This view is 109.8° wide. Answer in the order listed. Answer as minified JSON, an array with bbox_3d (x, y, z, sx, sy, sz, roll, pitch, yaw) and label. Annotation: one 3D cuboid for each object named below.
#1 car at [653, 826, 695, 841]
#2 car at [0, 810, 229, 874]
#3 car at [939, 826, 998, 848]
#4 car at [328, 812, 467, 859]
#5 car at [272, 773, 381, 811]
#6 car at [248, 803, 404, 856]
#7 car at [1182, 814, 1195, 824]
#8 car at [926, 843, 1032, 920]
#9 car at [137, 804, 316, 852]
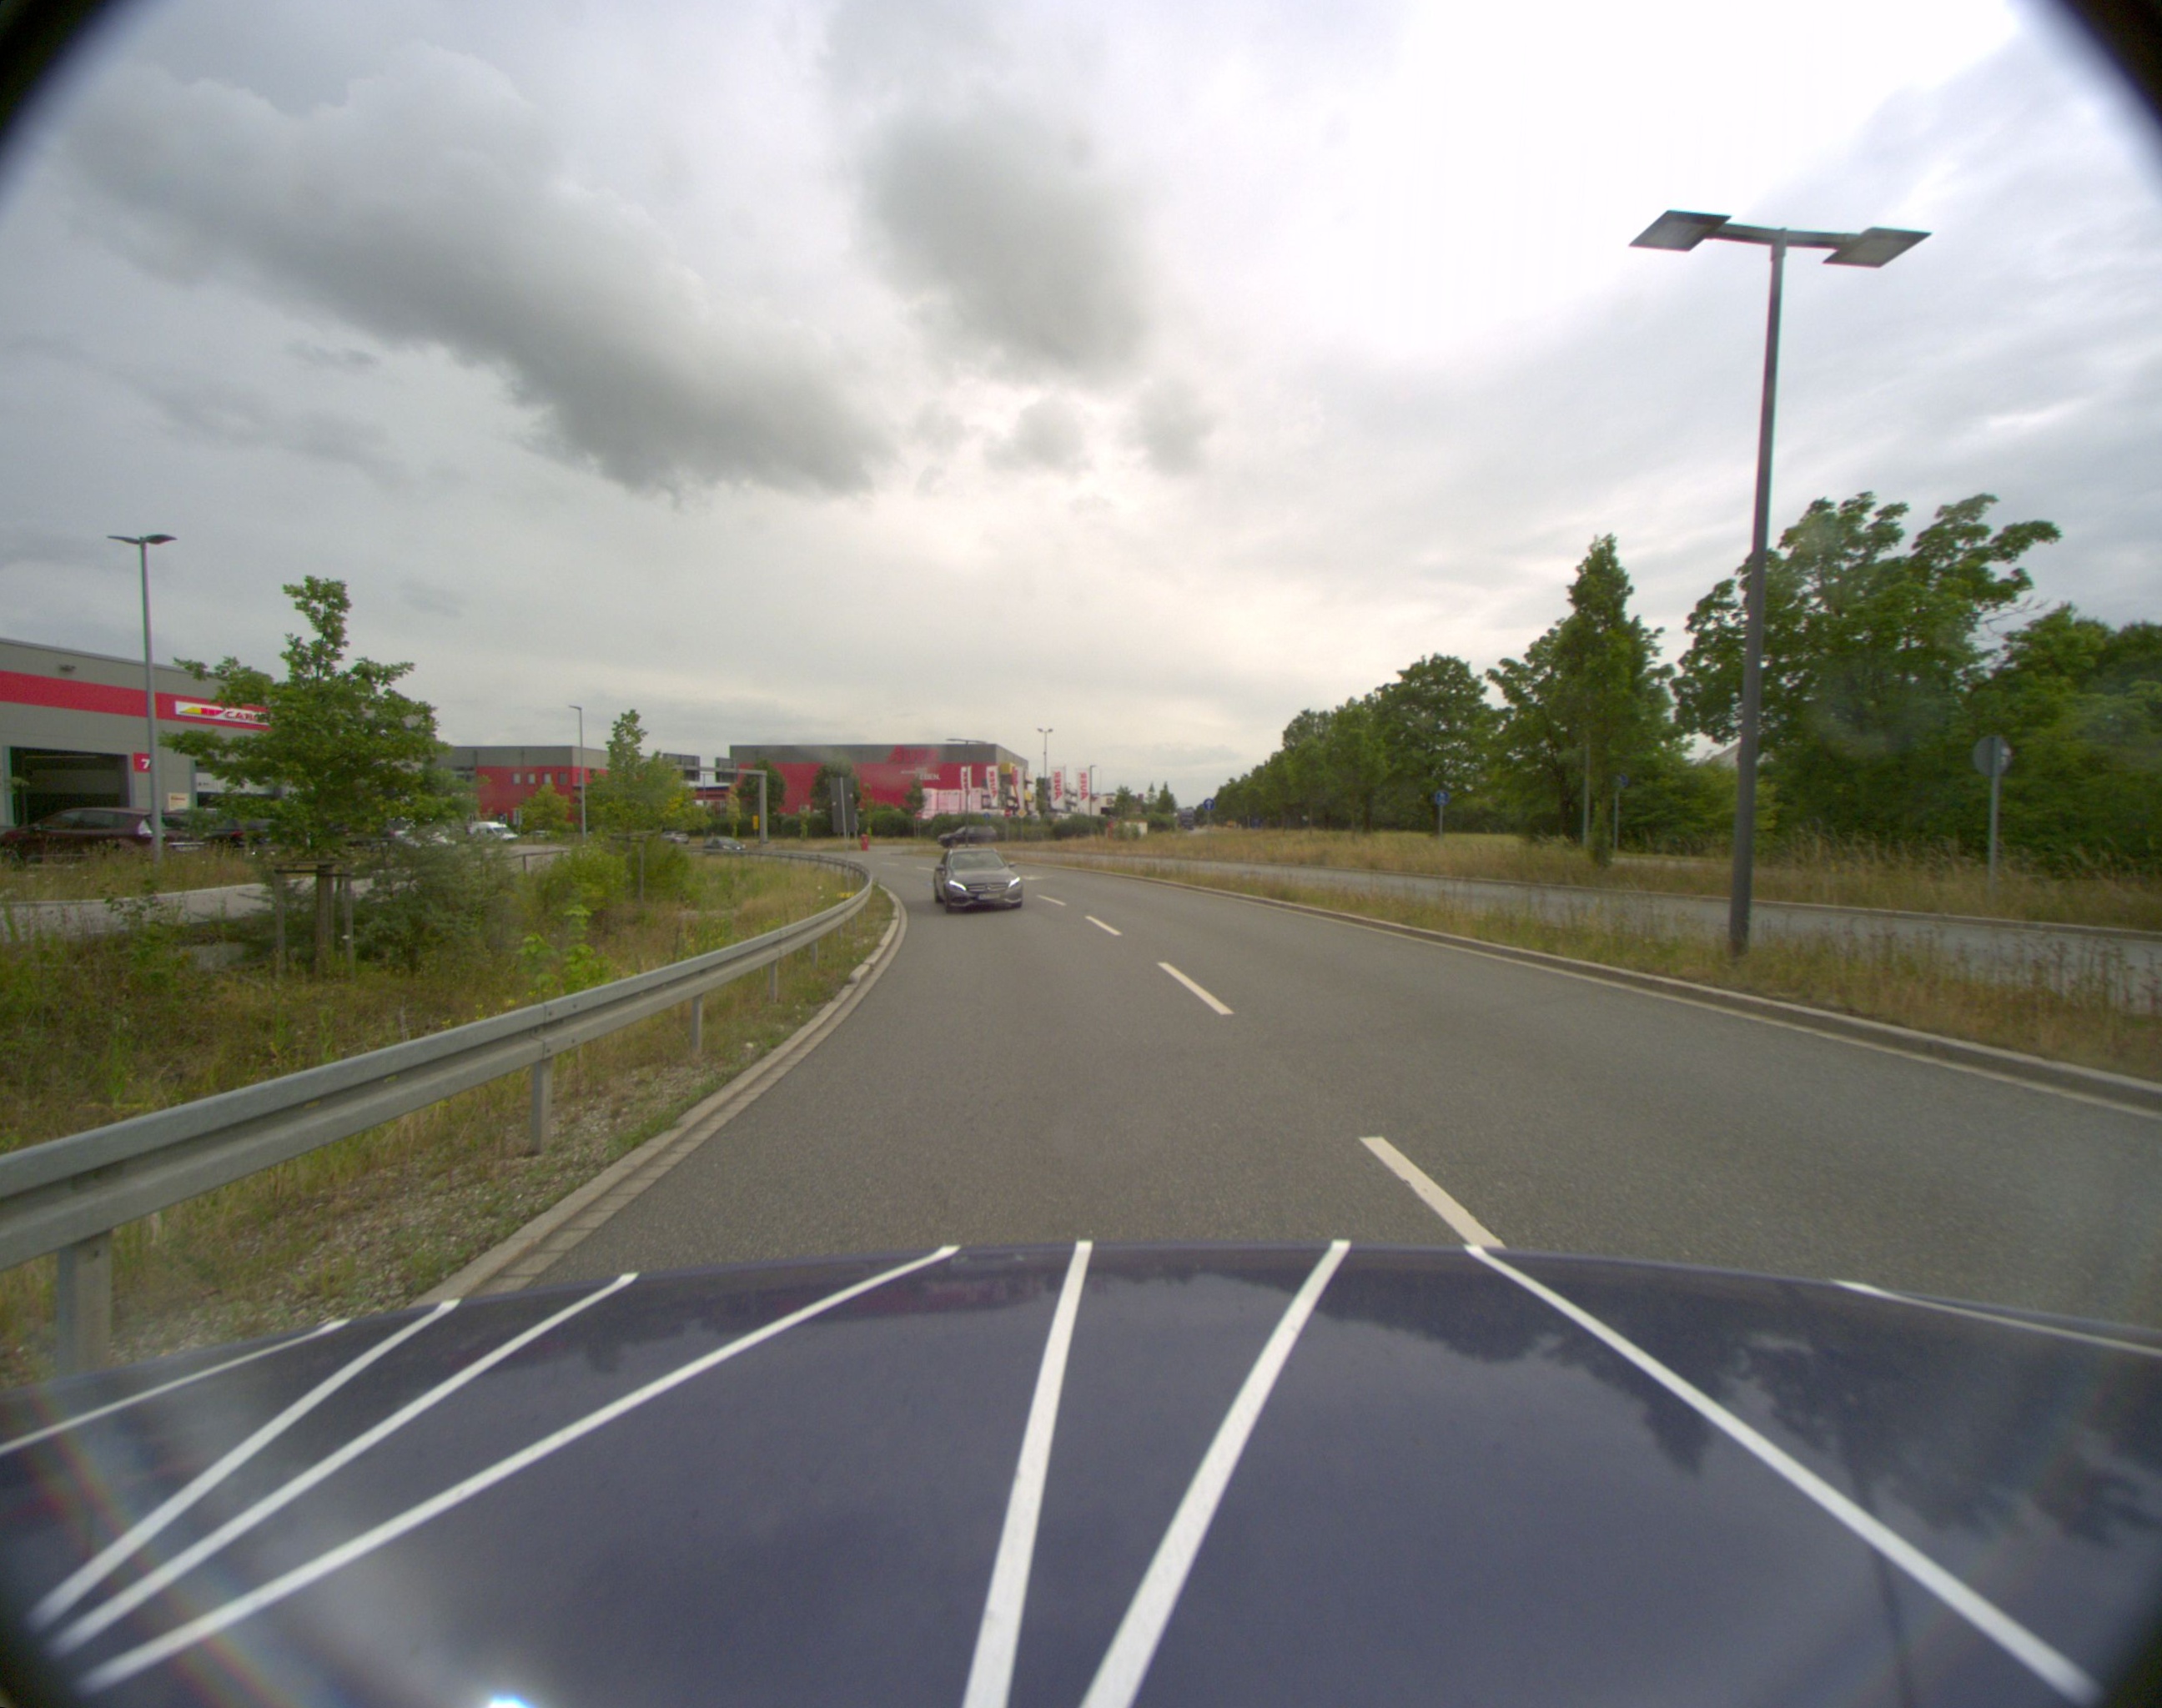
[{"bbox_3d":[-42.060,-2.137,78.459,4.085,1.478,1.464,1,5,22],"label":"car"},{"bbox_3d":[-24.822,-0.323,19.458,3.883,1.529,1.675,-1,3,-3],"label":"car"},{"bbox_3d":[-8.884,-1.356,60.054,4.260,1.542,1.869,-3,4,-26],"label":"car"},{"bbox_3d":[-24.446,-0.684,27.249,3.624,1.530,1.644,2,3,4],"label":"car"},{"bbox_3d":[-38.553,-3.162,38.888,3.966,1.801,1.705,0,0,3],"label":"car"},{"bbox_3d":[-24.566,-0.799,24.805,3.442,1.626,1.731,0,3,5],"label":"car"},{"bbox_3d":[20.436,-6.686,144.812,1.998,1.740,4.000,1,1,3],"label":"car"},{"bbox_3d":[-2.709,0.582,19.261,1.908,1.489,4.330,-4,4,-17],"label":"car"},{"bbox_3d":[-24.623,-0.747,21.971,3.442,1.327,1.644,0,3,5],"label":"car"}]
